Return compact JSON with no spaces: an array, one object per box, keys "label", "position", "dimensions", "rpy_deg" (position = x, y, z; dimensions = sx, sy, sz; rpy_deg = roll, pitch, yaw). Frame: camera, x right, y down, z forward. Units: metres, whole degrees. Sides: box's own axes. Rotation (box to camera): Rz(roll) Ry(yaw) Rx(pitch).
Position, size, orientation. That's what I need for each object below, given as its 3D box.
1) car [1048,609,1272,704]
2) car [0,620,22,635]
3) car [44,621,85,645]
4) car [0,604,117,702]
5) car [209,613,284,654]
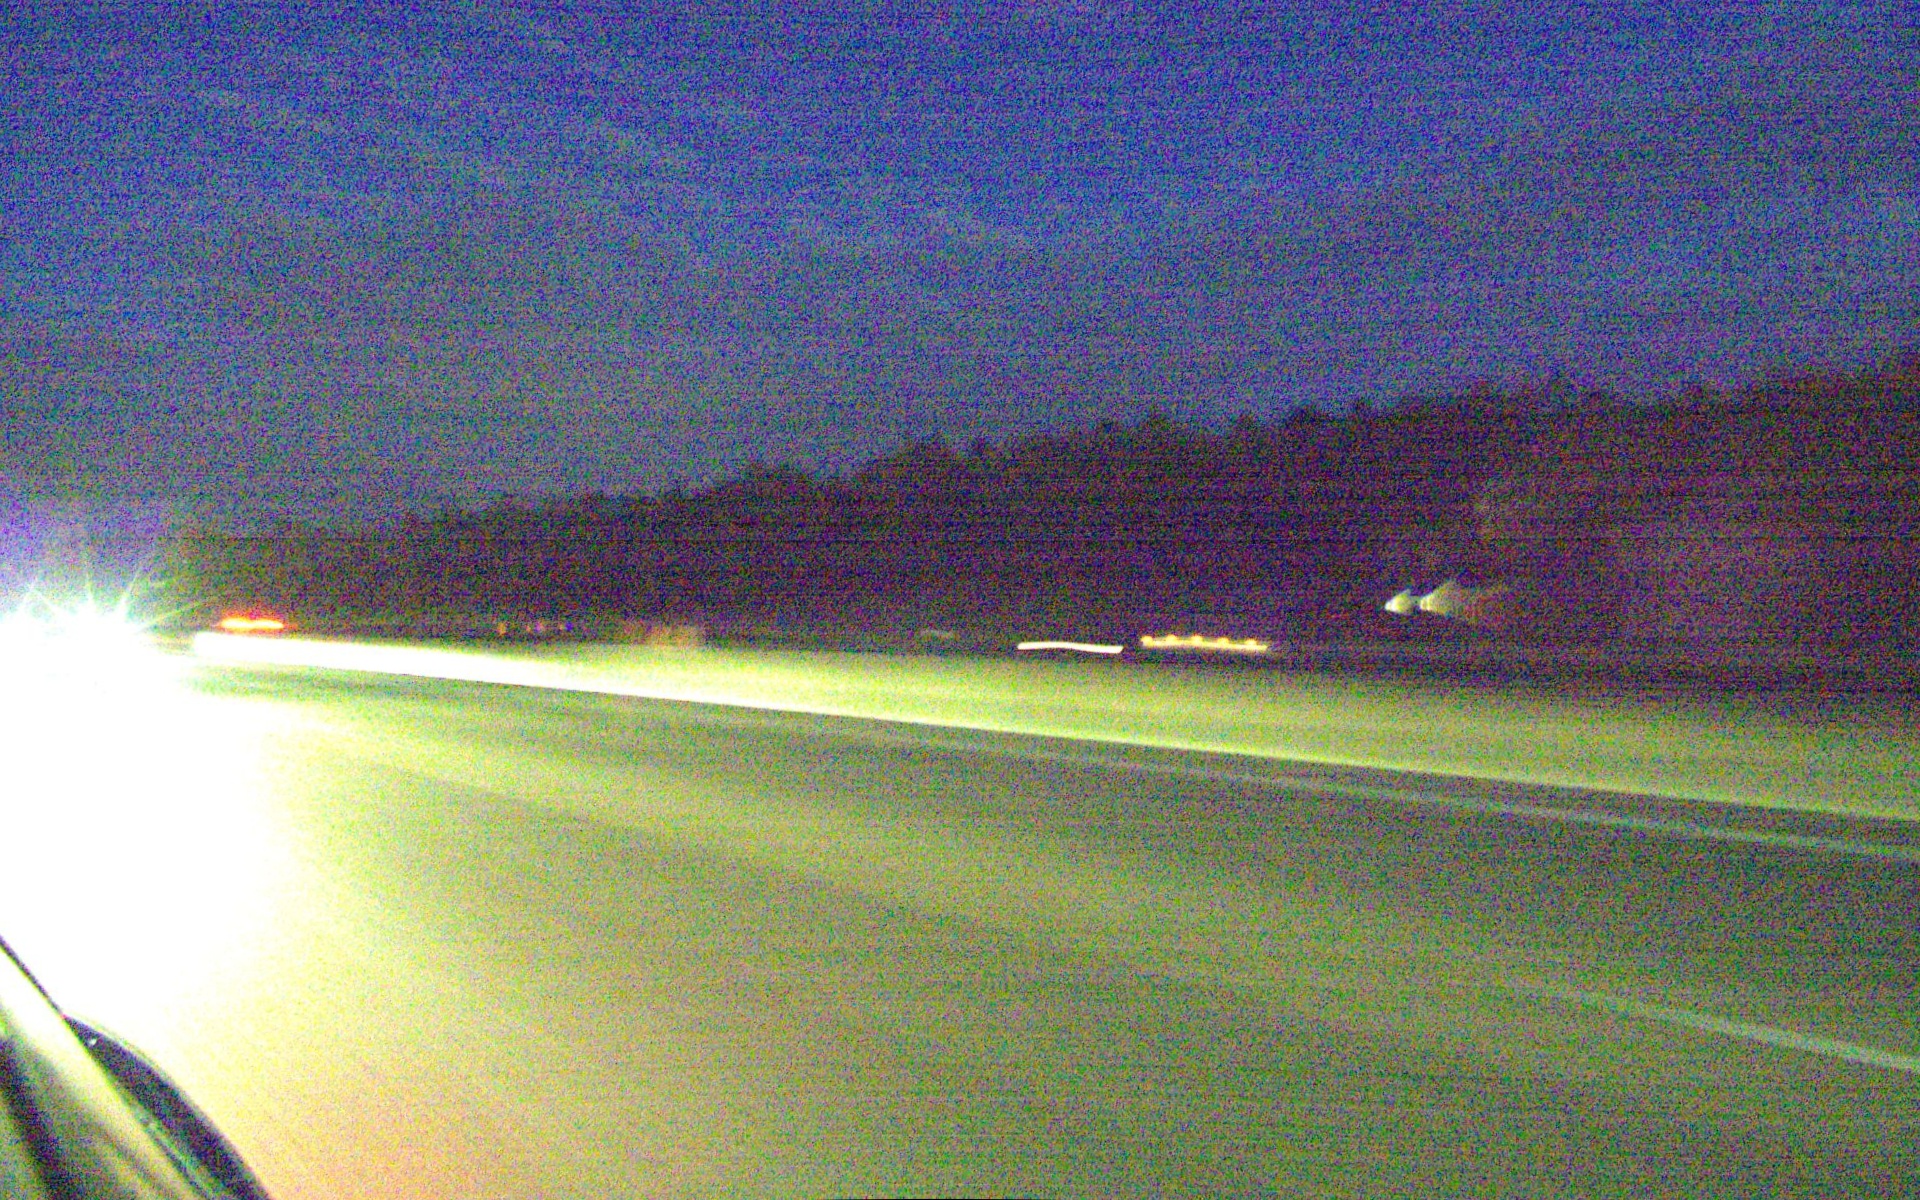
[{"label":"car","position":[4.682,1.258,24.105],"dimensions":[4.761,1.970,2.174],"rpy_deg":[-1,0,42]},{"label":"car","position":[-115.100,3.295,122.237],"dimensions":[4.761,1.694,2.174],"rpy_deg":[-1,0,42]},{"label":"car","position":[-79.043,2.929,89.290],"dimensions":[4.761,1.970,2.174],"rpy_deg":[-1,0,42]},{"label":"car","position":[-19.052,1.006,20.642],"dimensions":[5.940,1.734,1.973],"rpy_deg":[-1,0,42]},{"label":"car","position":[-37.701,1.740,53.436],"dimensions":[4.761,1.970,2.174],"rpy_deg":[-1,0,42]}]
